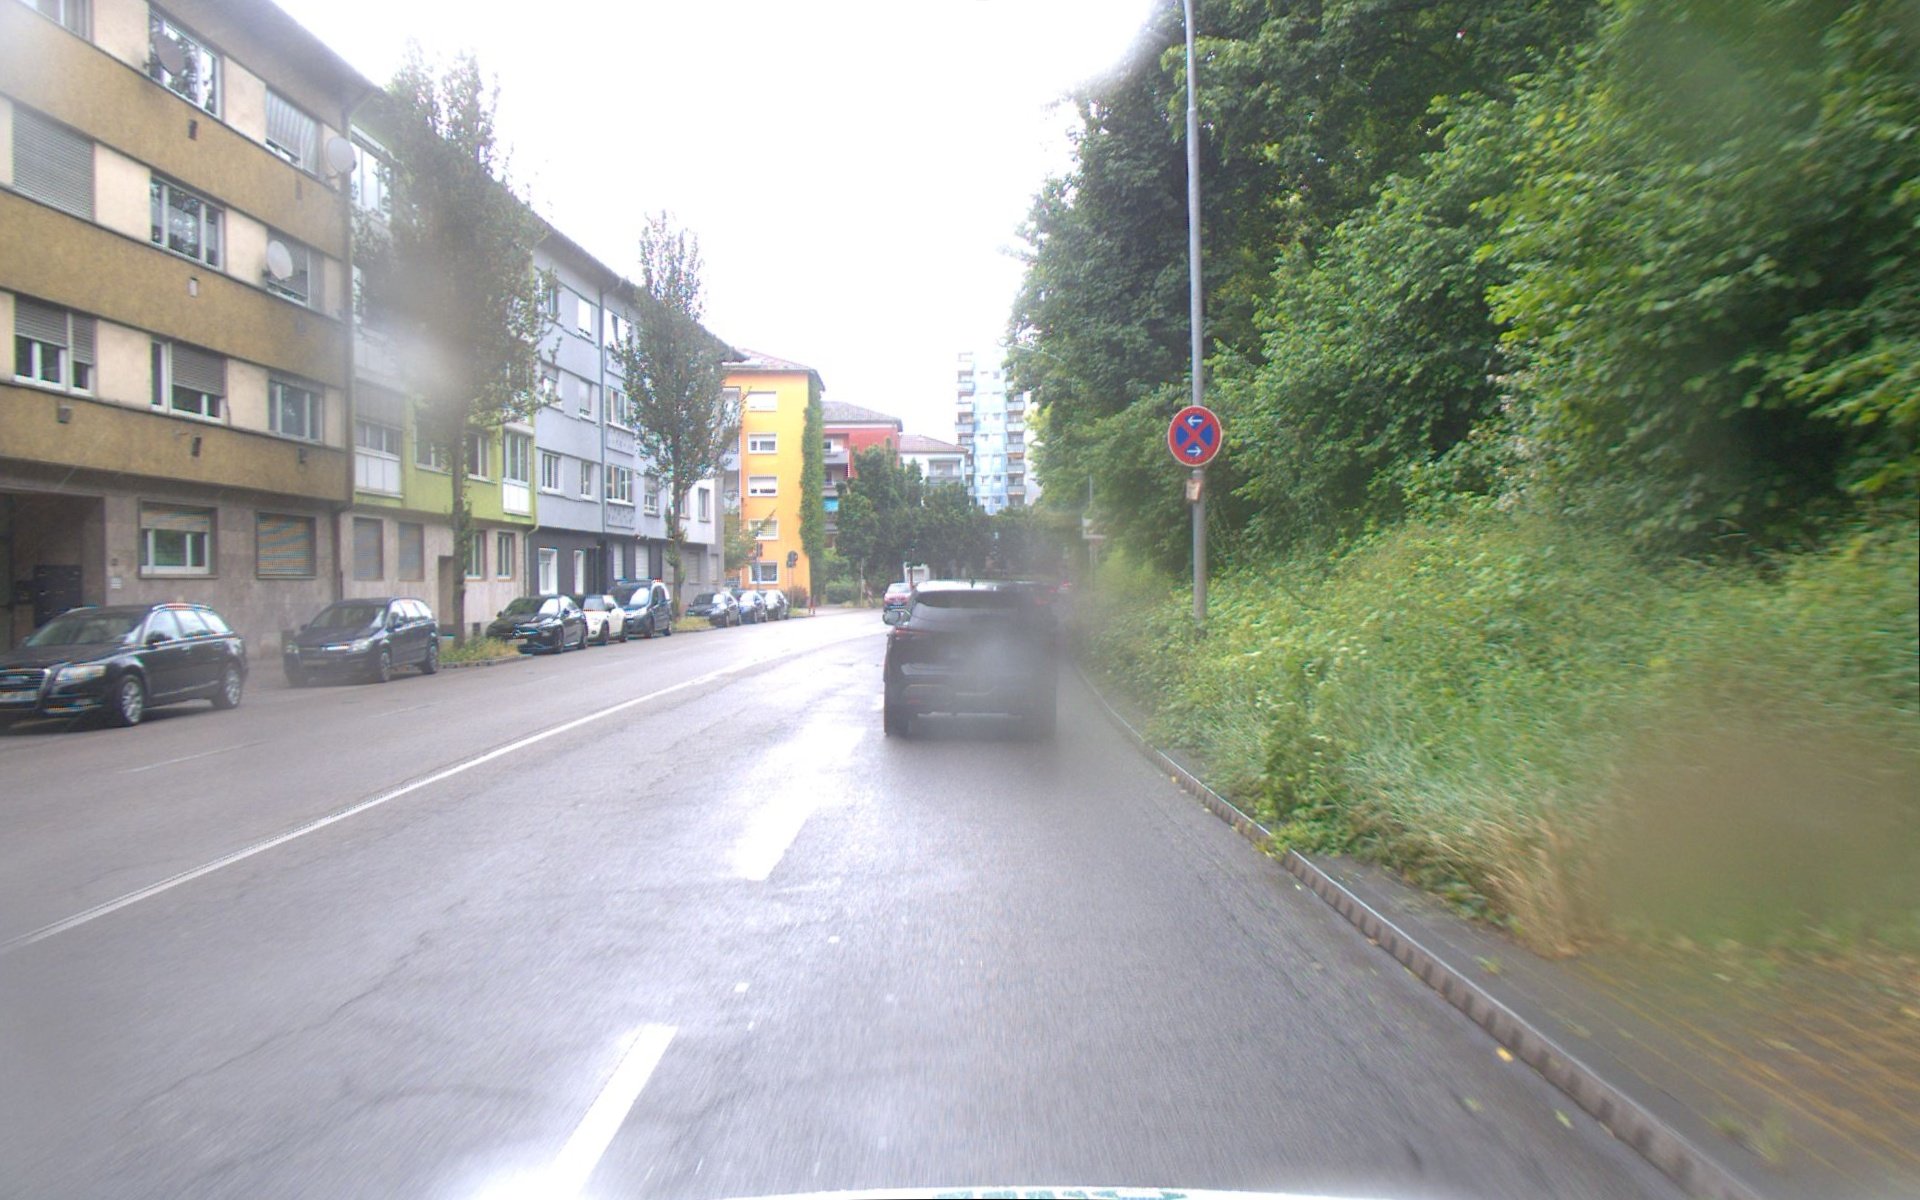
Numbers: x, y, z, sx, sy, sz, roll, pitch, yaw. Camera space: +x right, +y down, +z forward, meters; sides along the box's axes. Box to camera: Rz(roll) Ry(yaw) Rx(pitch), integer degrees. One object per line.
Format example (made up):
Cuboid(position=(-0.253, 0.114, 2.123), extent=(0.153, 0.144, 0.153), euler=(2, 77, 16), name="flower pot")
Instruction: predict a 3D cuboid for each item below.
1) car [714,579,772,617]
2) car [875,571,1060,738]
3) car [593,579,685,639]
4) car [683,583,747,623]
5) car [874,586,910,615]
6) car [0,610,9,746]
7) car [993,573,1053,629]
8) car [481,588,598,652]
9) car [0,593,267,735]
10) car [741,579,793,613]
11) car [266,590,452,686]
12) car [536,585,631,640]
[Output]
Cuboid(position=(-9.434, -0.107, 72.178), extent=(1.645, 1.474, 4.278), euler=(-3, 1, 3), name="car")
Cuboid(position=(0.169, 0.497, 18.261), extent=(1.806, 1.610, 4.002), euler=(1, 1, 3), name="car")
Cuboid(position=(-10.322, 0.263, 53.533), extent=(1.851, 1.797, 4.602), euler=(-2, 1, 3), name="car")
Cuboid(position=(-9.791, 0.088, 66.388), extent=(1.653, 1.381, 4.581), euler=(-4, 1, 2), name="car")
Cuboid(position=(-3.680, 0.006, 90.322), extent=(1.671, 1.504, 3.681), euler=(-1, 1, 1), name="car")
Cuboid(position=(-10.851, 0.871, 15.437), extent=(1.592, 1.411, 3.989), euler=(-1, 1, 0), name="car")
Cuboid(position=(2.081, 0.014, 53.688), extent=(1.847, 1.741, 4.002), euler=(0, 1, 3), name="car")
Cuboid(position=(-10.589, 0.458, 41.999), extent=(1.780, 1.396, 4.680), euler=(-2, 1, -1), name="car")
Cuboid(position=(-10.808, 0.730, 21.275), extent=(1.780, 1.514, 4.789), euler=(-2, 1, -1), name="car")
Cuboid(position=(-9.084, -0.221, 78.240), extent=(1.677, 1.450, 4.325), euler=(-3, 1, 3), name="car")
Cuboid(position=(-10.916, 0.629, 30.407), extent=(1.683, 1.514, 4.515), euler=(-2, 1, 0), name="car")
Cuboid(position=(-10.685, 0.325, 47.179), extent=(1.645, 1.400, 4.001), euler=(-3, 1, 1), name="car")
